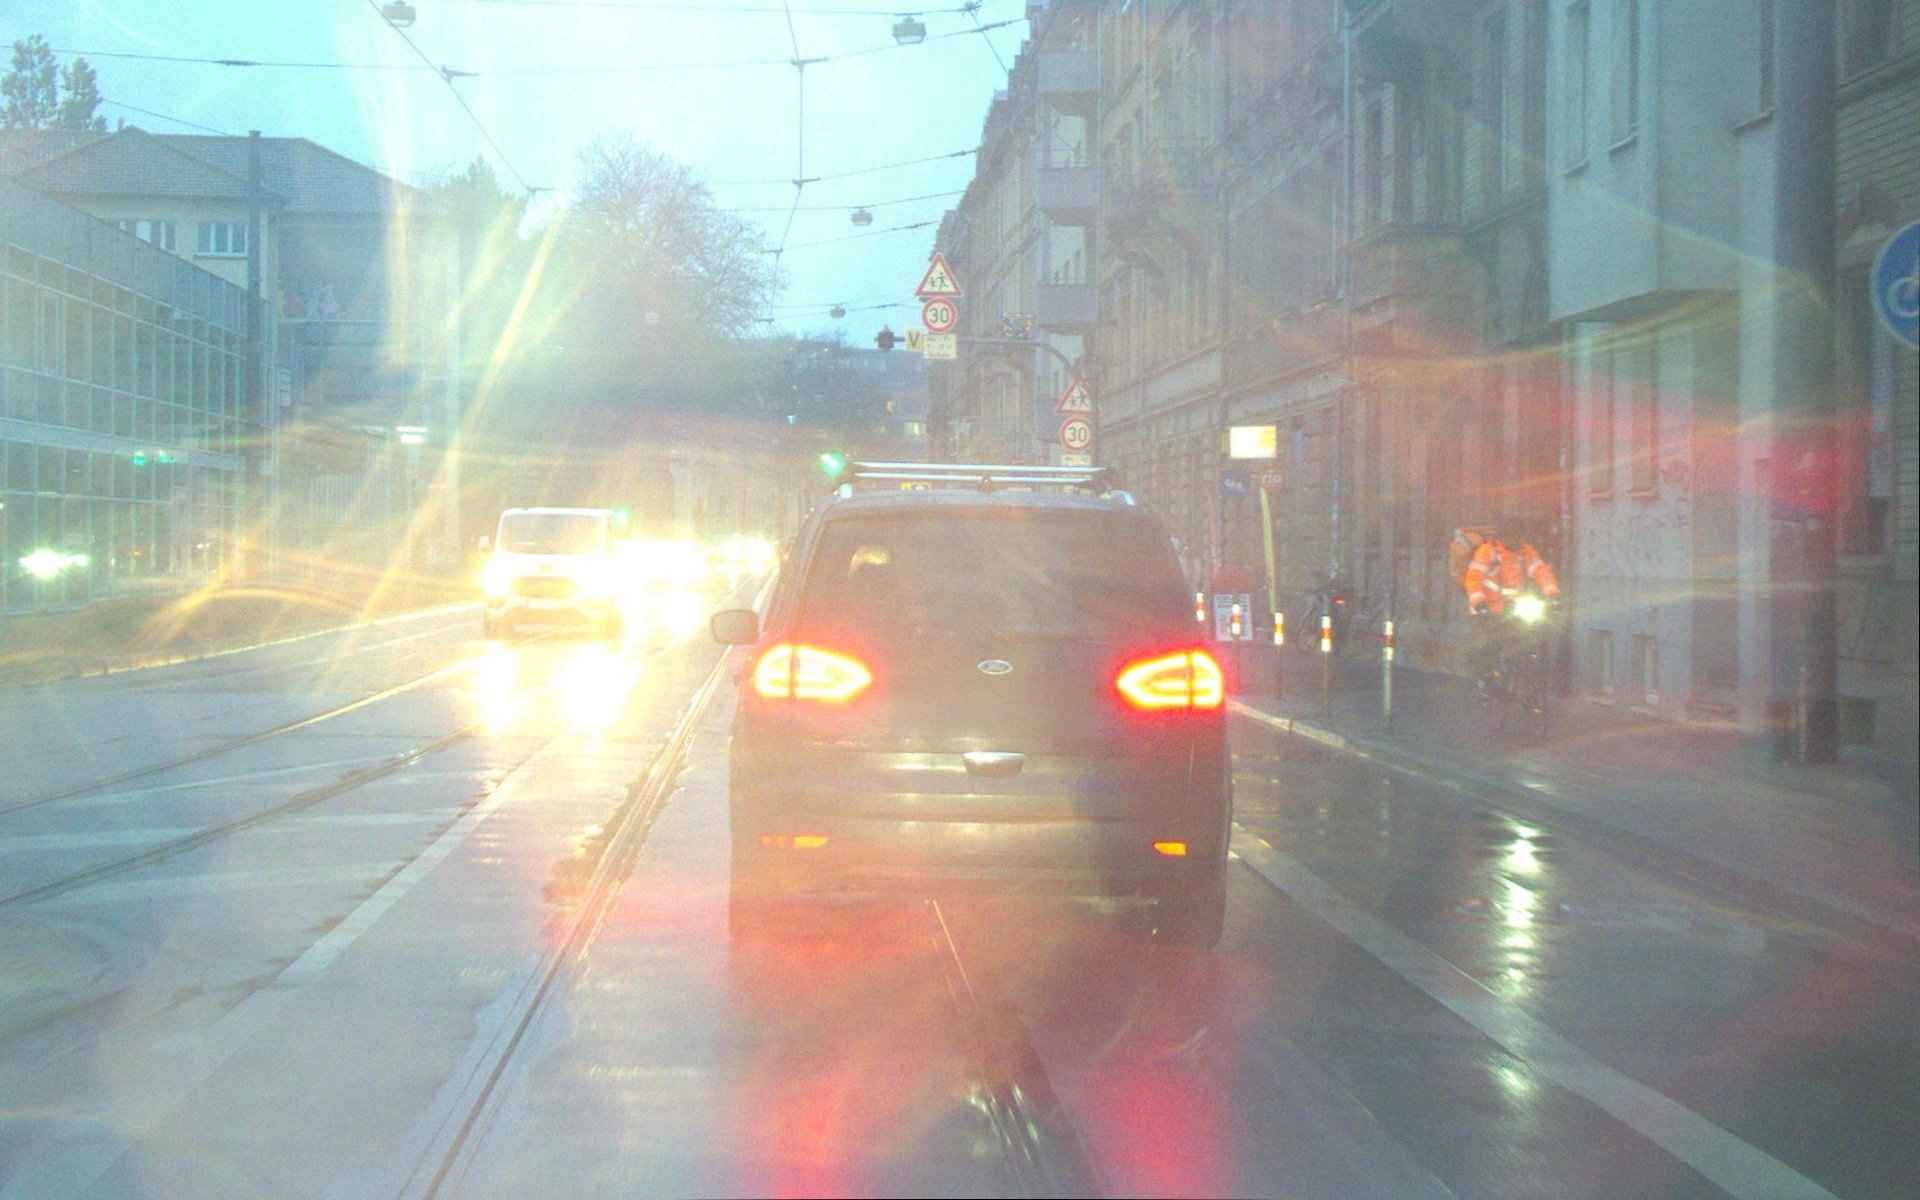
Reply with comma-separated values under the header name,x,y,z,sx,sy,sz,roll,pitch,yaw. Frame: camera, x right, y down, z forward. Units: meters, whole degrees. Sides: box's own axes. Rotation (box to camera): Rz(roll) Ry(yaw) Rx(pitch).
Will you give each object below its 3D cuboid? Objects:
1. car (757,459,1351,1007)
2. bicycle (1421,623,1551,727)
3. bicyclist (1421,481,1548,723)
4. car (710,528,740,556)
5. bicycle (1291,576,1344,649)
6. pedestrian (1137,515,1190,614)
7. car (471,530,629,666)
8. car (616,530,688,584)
name,x,y,z,sx,sy,sz,roll,pitch,yaw
car,0.320,0.419,13.648,1.993,1.835,4.000,1,1,0
bicycle,4.130,0.578,27.090,0.608,0.758,1.861,0,1,-4
bicyclist,4.132,0.010,27.135,0.745,1.873,1.112,0,1,-5
car,-14.867,-3.685,217.834,1.875,1.704,4.761,-1,1,-3
bicycle,4.667,0.156,44.959,0.397,0.908,1.867,0,1,-3
pedestrian,3.282,-0.577,55.480,0.786,1.592,0.742,0,1,-2
car,-6.378,-0.060,53.910,1.993,2.007,4.685,1,1,-1
car,-9.164,-1.302,102.454,1.841,1.573,4.442,0,1,-1
